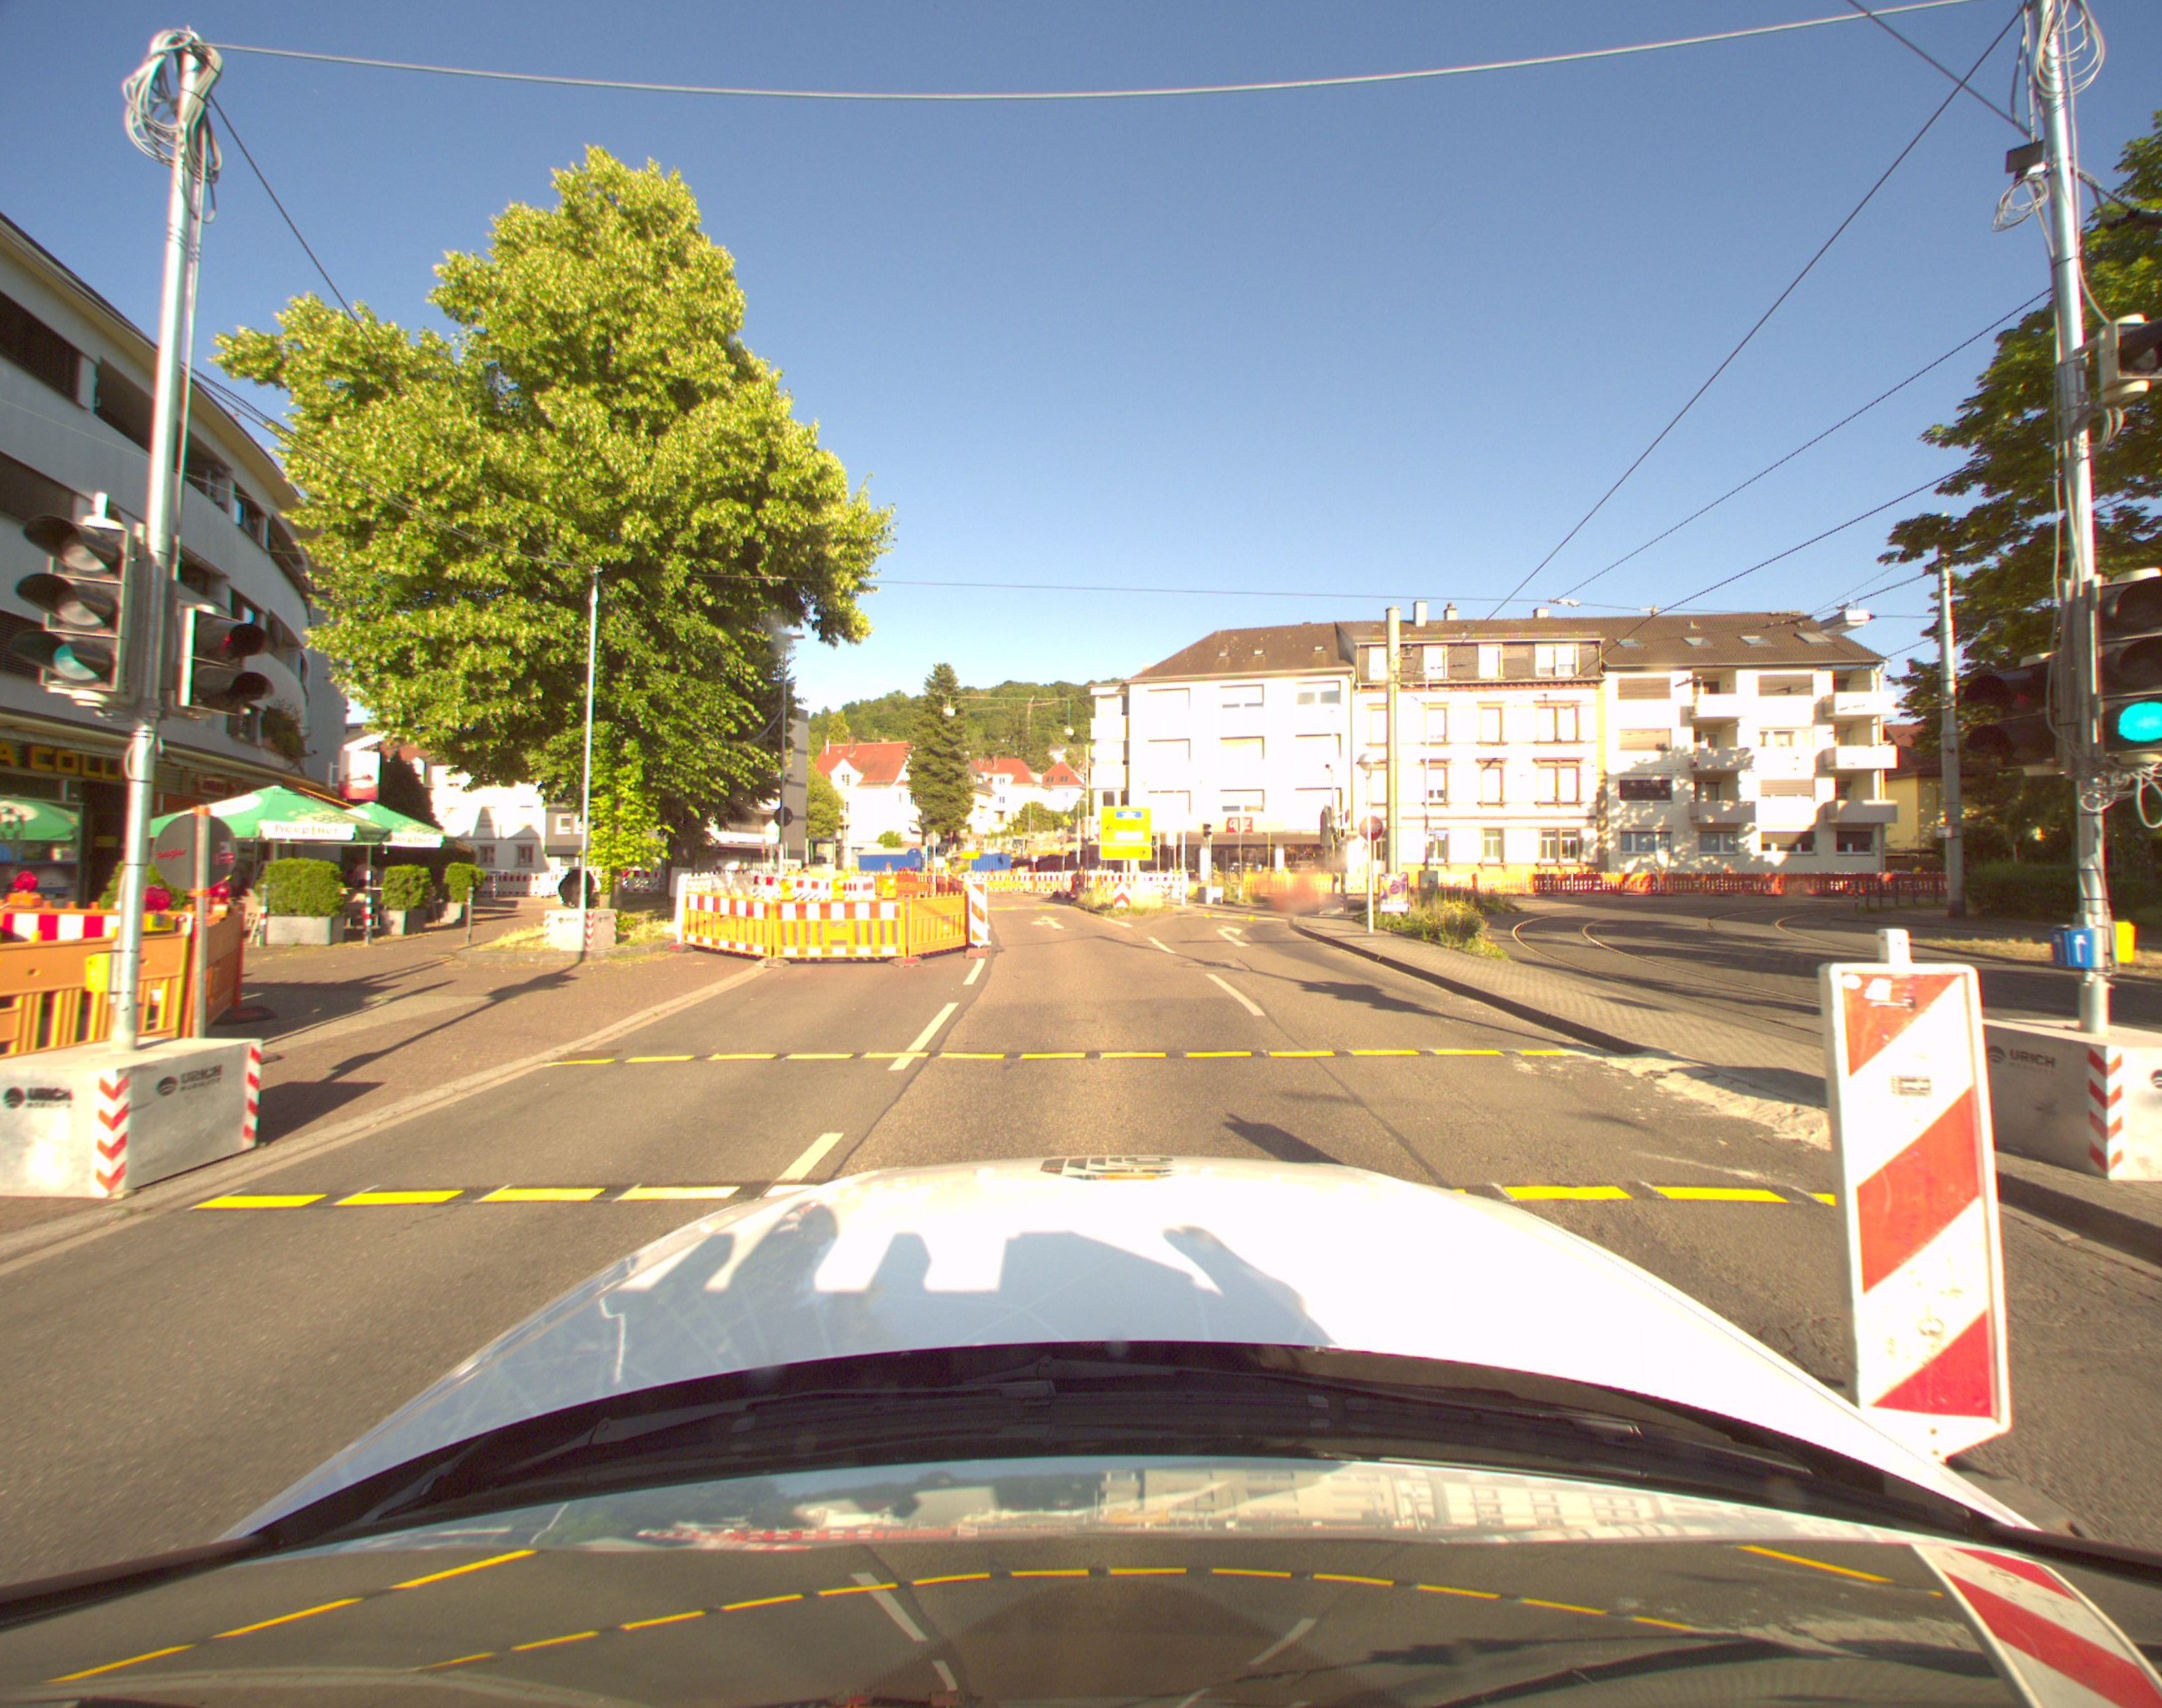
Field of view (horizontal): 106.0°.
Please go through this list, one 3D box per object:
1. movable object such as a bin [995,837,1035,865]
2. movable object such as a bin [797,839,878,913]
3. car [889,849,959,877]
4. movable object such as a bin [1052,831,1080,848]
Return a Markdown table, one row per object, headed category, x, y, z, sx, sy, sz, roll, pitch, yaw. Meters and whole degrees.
| category | x | y | z | sx | sy | sz | roll | pitch | yaw |
| --- | --- | --- | --- | --- | --- | --- | --- | --- | --- |
| movable object such as a bin | -6.212 | -0.255 | 77.434 | 1.931 | 2.494 | 4.575 | -1 | -1 | 22 |
| movable object such as a bin | -8.242 | 0.728 | 27.912 | 1.642 | 2.325 | 3.918 | -1 | -1 | -1 |
| car | -12.420 | 0.717 | 64.969 | 2.561 | 2.121 | 6.183 | -1 | -1 | 22 |
| movable object such as a bin | -2.025 | -2.030 | 113.247 | 2.547 | 2.122 | 5.804 | -1 | -1 | 13 |
